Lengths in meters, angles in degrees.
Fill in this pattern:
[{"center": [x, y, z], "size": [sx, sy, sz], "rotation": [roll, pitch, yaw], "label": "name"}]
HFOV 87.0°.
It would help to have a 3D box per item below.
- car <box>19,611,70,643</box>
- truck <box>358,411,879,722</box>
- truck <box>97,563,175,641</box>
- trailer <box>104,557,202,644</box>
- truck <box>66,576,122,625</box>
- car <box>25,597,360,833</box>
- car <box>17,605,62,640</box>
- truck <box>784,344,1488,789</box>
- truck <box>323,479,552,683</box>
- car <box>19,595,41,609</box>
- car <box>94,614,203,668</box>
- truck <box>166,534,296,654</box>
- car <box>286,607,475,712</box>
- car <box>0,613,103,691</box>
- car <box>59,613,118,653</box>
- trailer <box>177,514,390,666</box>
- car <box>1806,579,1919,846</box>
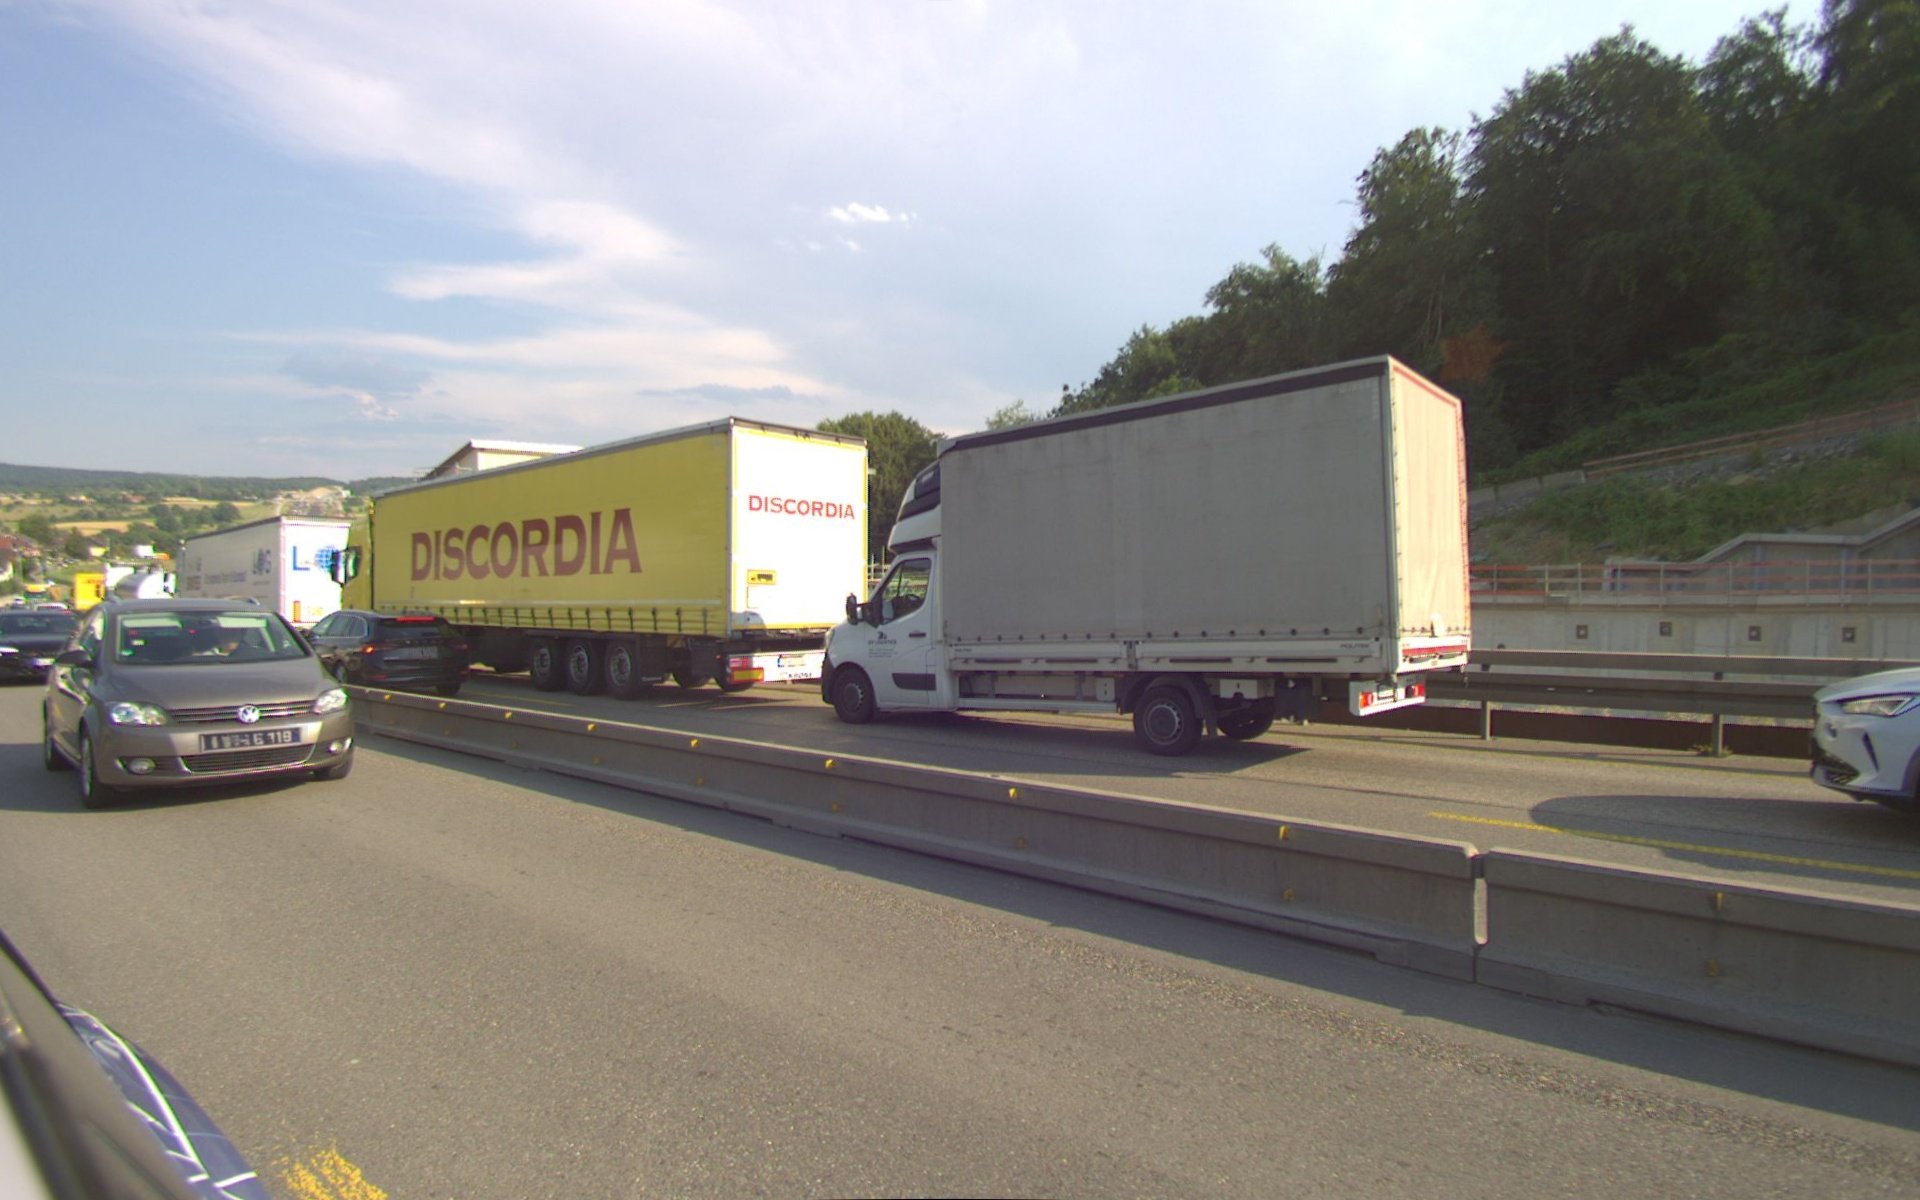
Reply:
[{"center": [-45.859, 1.312, 50.655], "size": [3.691, 1.521, 1.639], "rotation": [-1, -1, 44], "label": "car"}, {"center": [-7.401, -0.394, 19.127], "size": [14.149, 4.119, 2.679], "rotation": [0, -1, 42], "label": "truck"}, {"center": [-44.060, 0.112, 54.068], "size": [6.205, 3.917, 2.570], "rotation": [-1, -1, 45], "label": "truck"}, {"center": [-40.299, 0.074, 50.351], "size": [10.582, 3.910, 2.568], "rotation": [0, -1, 45], "label": "trailer"}, {"center": [-69.366, 0.058, 80.971], "size": [2.859, 3.738, 9.497], "rotation": [1, -1, -44], "label": "truck"}, {"center": [-6.835, 0.788, 8.836], "size": [4.100, 1.586, 1.665], "rotation": [-1, 0, 43], "label": "car"}, {"center": [-52.900, 1.287, 58.142], "size": [1.840, 1.925, 4.004], "rotation": [1, -1, -43], "label": "car"}, {"center": [1.428, -0.227, 11.345], "size": [7.612, 3.489, 2.422], "rotation": [-1, -1, 41], "label": "truck"}, {"center": [-12.229, -0.358, 23.458], "size": [6.099, 4.119, 2.684], "rotation": [0, -1, 42], "label": "truck"}, {"center": [-145.499, 0.307, 158.262], "size": [4.749, 2.015, 1.799], "rotation": [-2, -3, 39], "label": "car"}, {"center": [-24.111, 1.162, 29.999], "size": [4.672, 1.436, 1.788], "rotation": [-1, 0, 42], "label": "car"}, {"center": [-26.945, -0.171, 37.291], "size": [6.102, 4.066, 2.812], "rotation": [-1, -1, 44], "label": "truck"}, {"center": [-9.863, 0.899, 17.082], "size": [4.288, 1.535, 1.636], "rotation": [-1, 0, 44], "label": "car"}, {"center": [-18.677, 0.973, 20.318], "size": [4.001, 1.409, 1.841], "rotation": [0, -1, 44], "label": "car"}, {"center": [-34.289, 1.243, 39.769], "size": [1.636, 1.440, 4.570], "rotation": [0, 0, -42], "label": "car"}, {"center": [-22.441, -0.214, 32.970], "size": [13.973, 4.066, 2.826], "rotation": [0, -1, 44], "label": "trailer"}, {"center": [7.225, 0.632, 5.511], "size": [4.000, 1.535, 1.745], "rotation": [-1, 0, 41], "label": "car"}]
